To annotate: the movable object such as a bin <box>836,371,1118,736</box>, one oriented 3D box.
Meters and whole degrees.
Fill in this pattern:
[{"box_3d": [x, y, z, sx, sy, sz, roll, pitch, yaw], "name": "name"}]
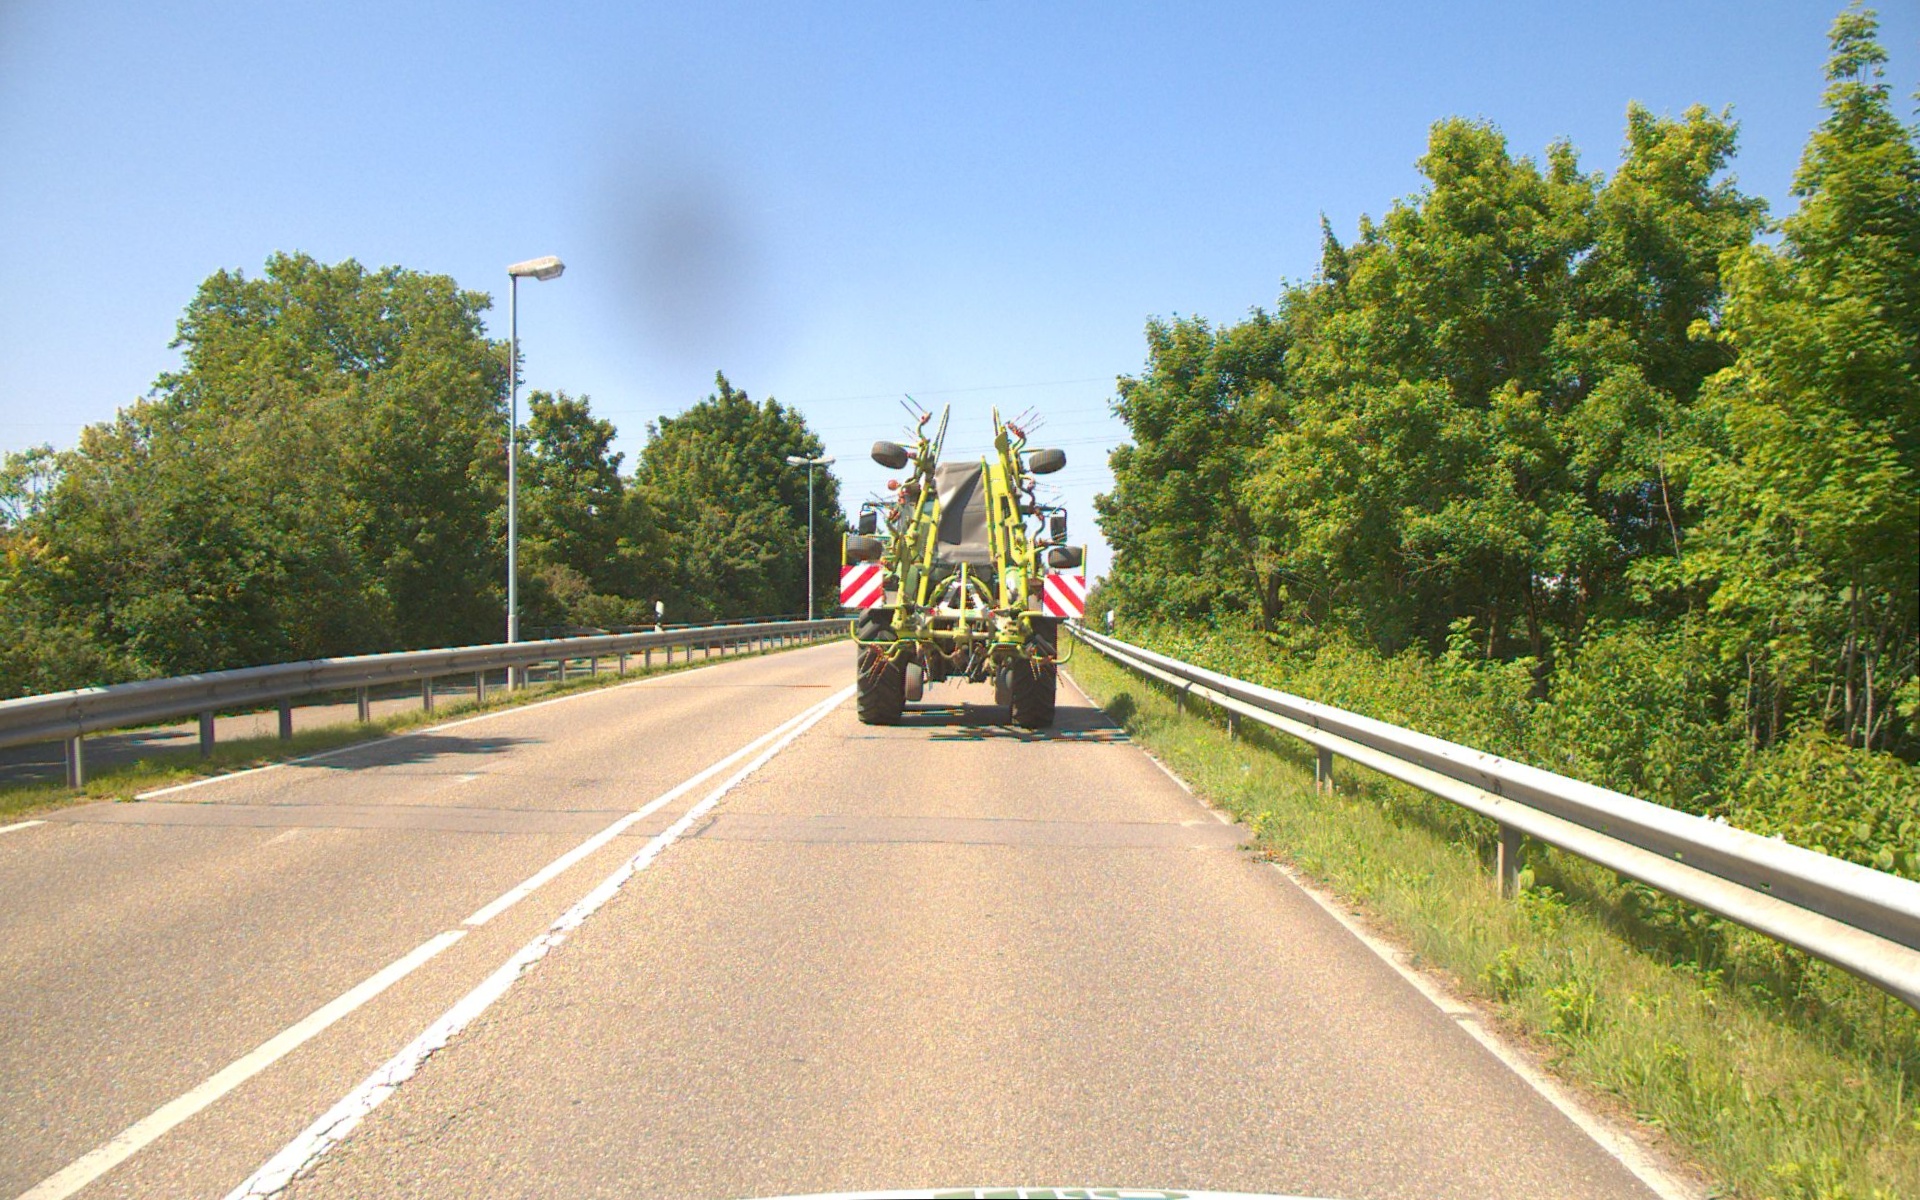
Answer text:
[{"box_3d": [0.083, -0.483, 18.802, 2.699, 3.504, 5.668, 0, 1, -2], "name": "movable object such as a bin"}]
